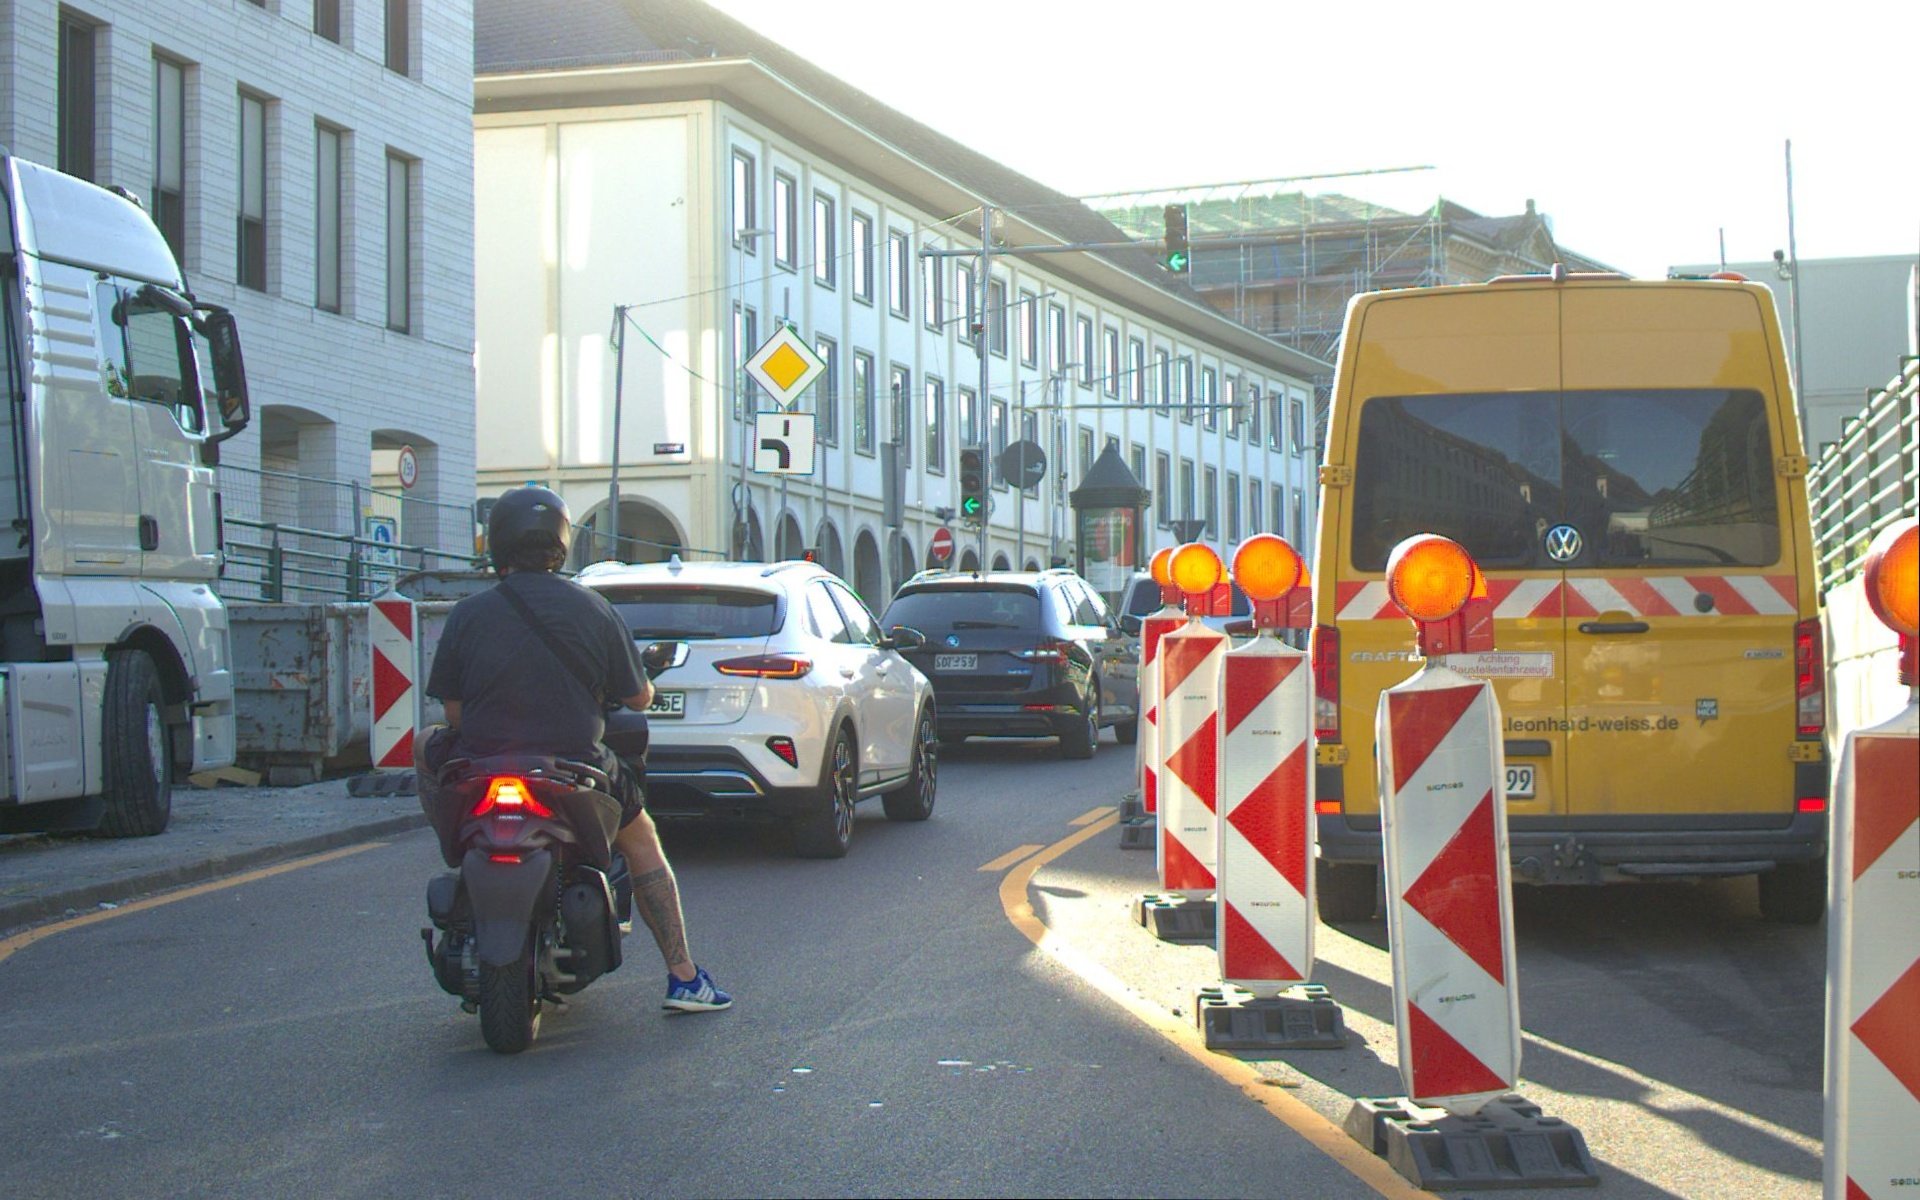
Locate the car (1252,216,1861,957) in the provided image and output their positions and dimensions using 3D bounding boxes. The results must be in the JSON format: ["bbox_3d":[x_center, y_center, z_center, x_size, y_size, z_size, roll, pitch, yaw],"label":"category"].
[{"bbox_3d":[2.687,-0.060,15.742,2.112,2.616,6.984,-1,0,9],"label":"car"}]

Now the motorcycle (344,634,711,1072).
[{"bbox_3d":[-1.321,0.732,11.062,0.906,1.179,2.579,0,1,-1],"label":"motorcycle"}]

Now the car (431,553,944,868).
[{"bbox_3d":[-1.312,0.505,18.274,1.860,1.467,3.999,1,0,8],"label":"car"}]

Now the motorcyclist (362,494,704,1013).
[{"bbox_3d":[-1.329,0.454,10.962,0.954,1.554,1.239,0,1,-1],"label":"motorcyclist"}]

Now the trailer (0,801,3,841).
[{"bbox_3d":[-6.496,-0.555,11.871,2.643,3.656,8.746,-5,0,8],"label":"trailer"}]

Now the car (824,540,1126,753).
[{"bbox_3d":[0.200,0.390,27.414,1.774,1.545,4.104,-1,-1,9],"label":"car"}]

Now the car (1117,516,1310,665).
[{"bbox_3d":[3.145,-0.134,41.984,1.804,1.715,4.161,0,1,12],"label":"car"}]

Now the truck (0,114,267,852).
[{"bbox_3d":[-5.737,-0.474,16.363,2.580,3.478,5.813,-5,0,10],"label":"truck"}]
